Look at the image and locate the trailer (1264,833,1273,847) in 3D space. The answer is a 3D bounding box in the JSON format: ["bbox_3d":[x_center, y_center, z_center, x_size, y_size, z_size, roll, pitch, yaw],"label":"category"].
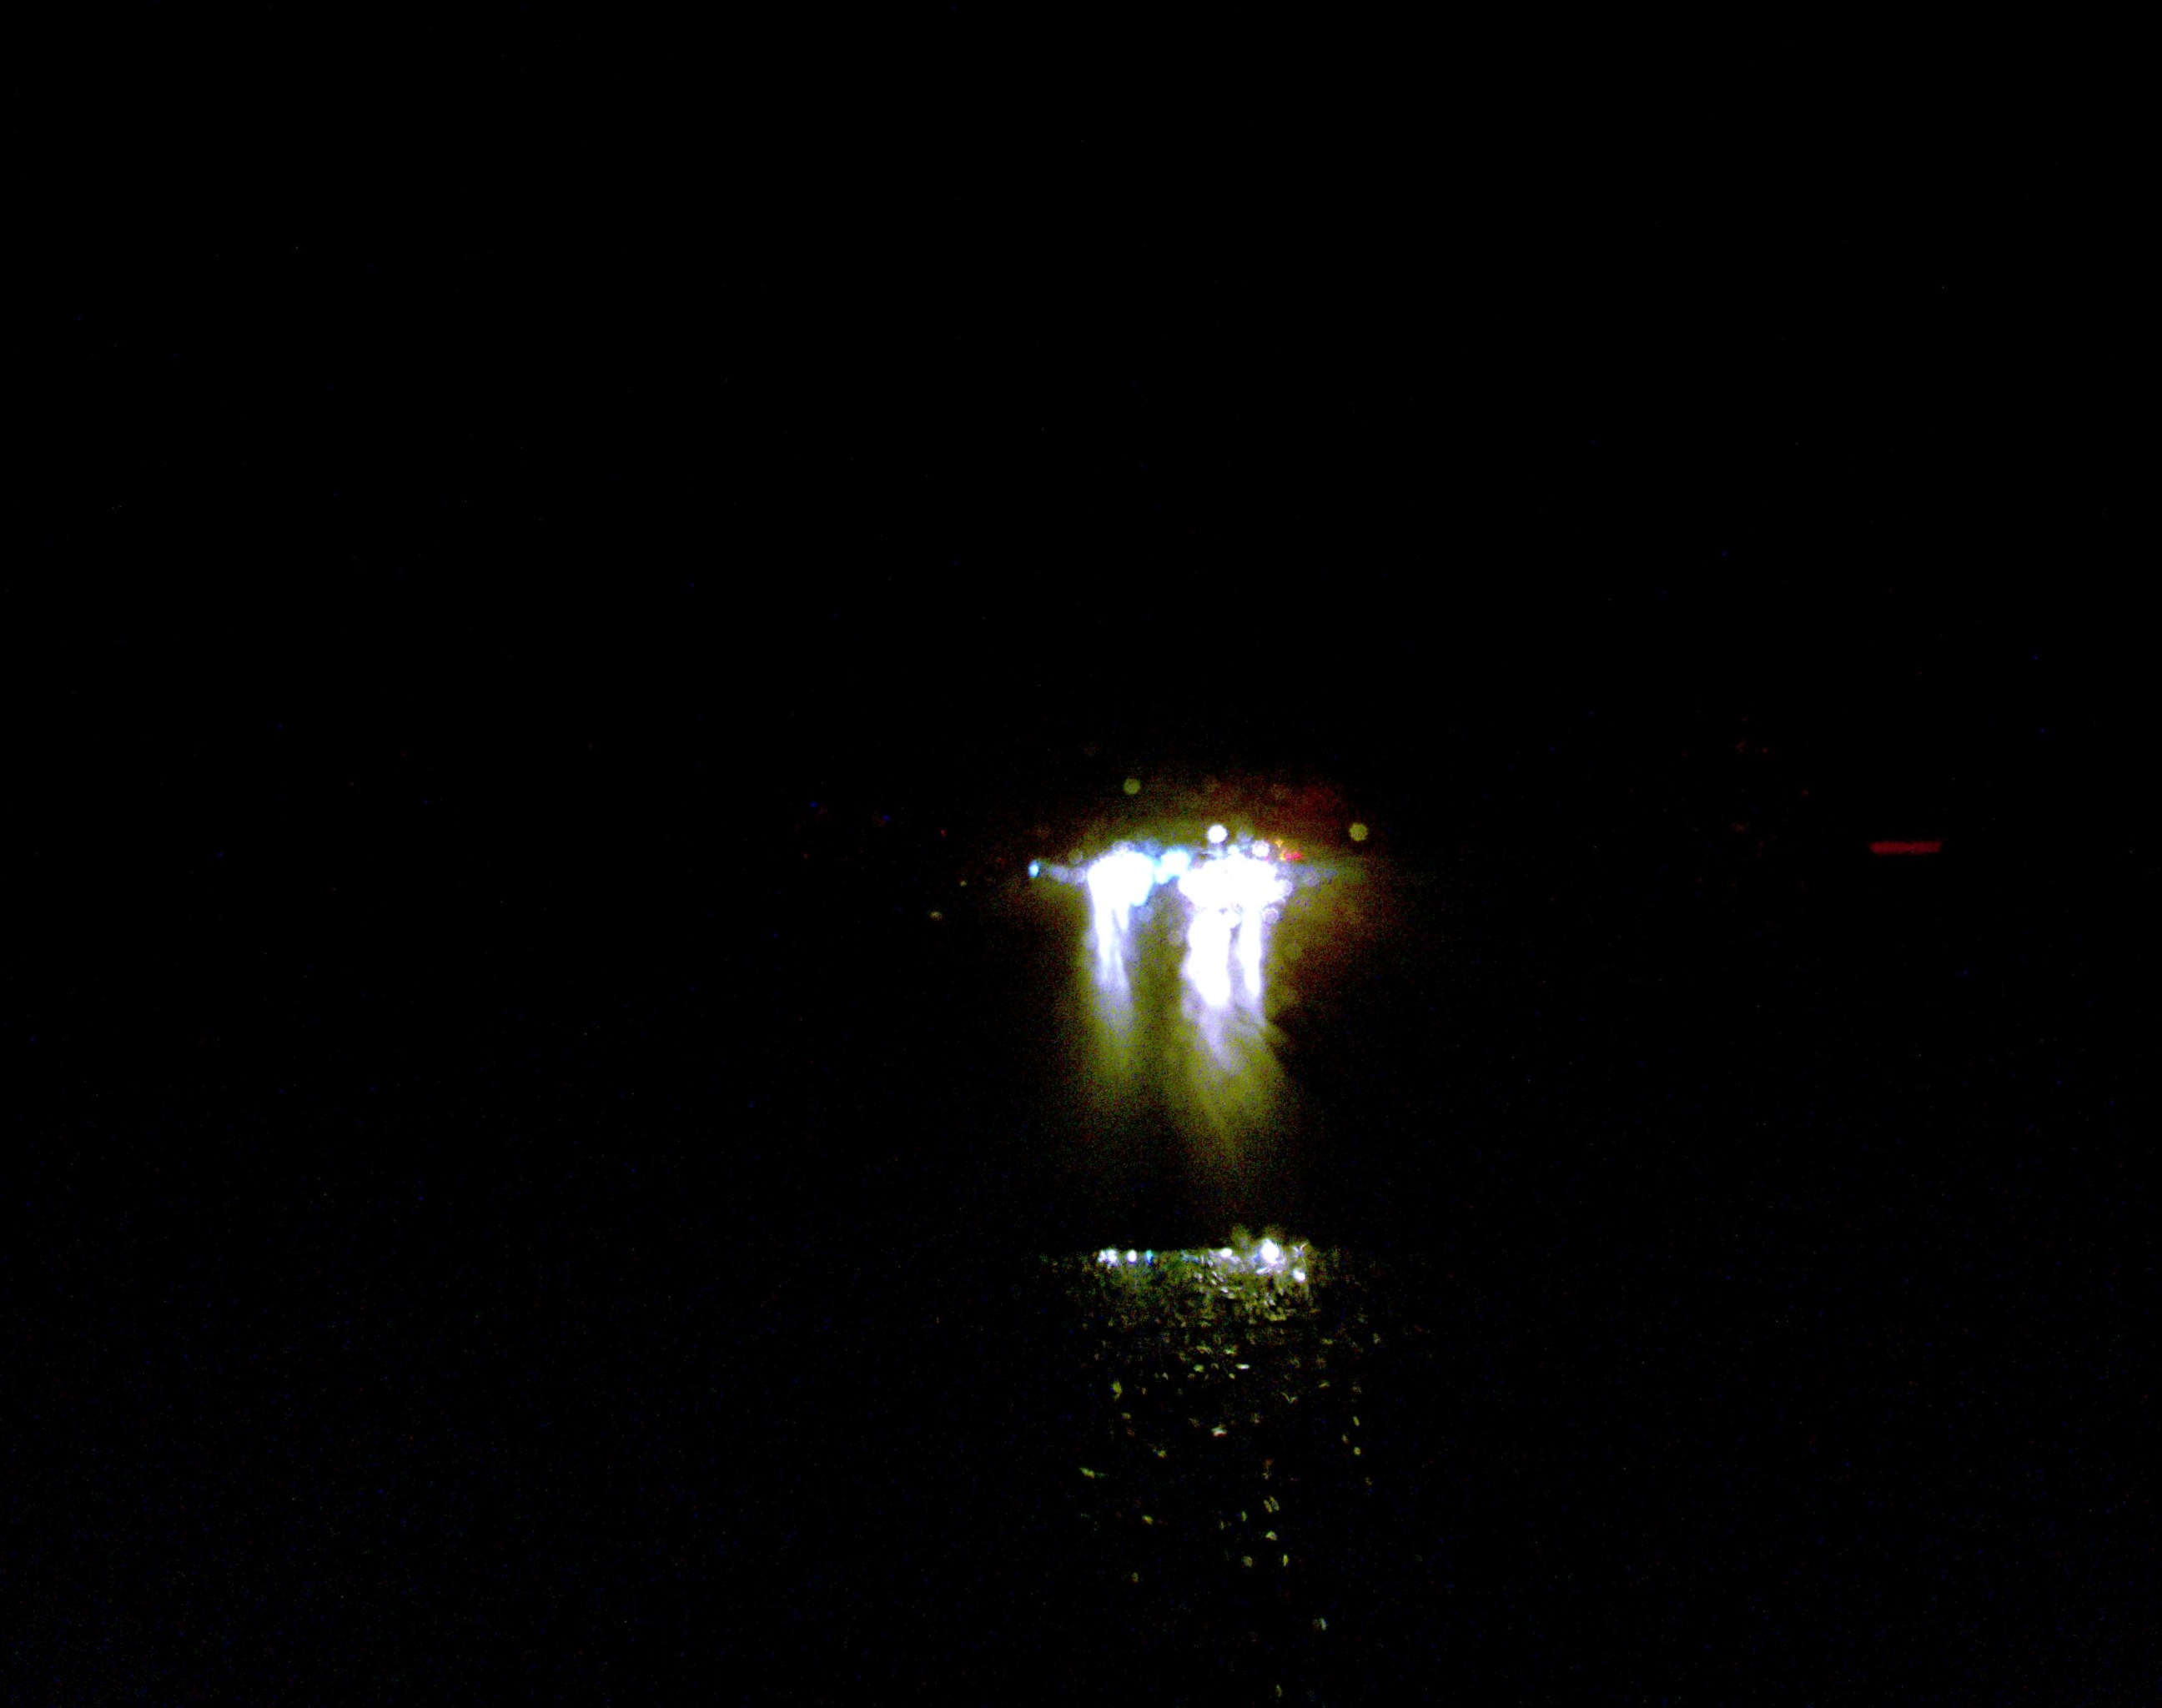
[{"bbox_3d":[60.800,-4.671,246.753,2.579,4.432,12.504,-2,1,15],"label":"trailer"}]

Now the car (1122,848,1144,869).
[{"bbox_3d":[5.347,0.430,78.142,1.998,2.002,4.000,-3,0,1],"label":"car"}]

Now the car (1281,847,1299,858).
[{"bbox_3d":[27.429,-0.223,99.822,1.607,1.335,3.243,-3,1,5],"label":"car"}]

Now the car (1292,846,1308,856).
[{"bbox_3d":[38.054,-0.541,132.090,1.834,1.703,4.001,-1,1,5],"label":"car"}]

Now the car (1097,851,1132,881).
[{"bbox_3d":[2.071,0.702,46.088,1.891,1.603,4.001,-1,1,5],"label":"car"}]

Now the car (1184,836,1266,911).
[{"bbox_3d":[4.290,0.530,23.290,1.754,2.093,4.463,0,0,1],"label":"car"}]

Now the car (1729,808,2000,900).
[{"bbox_3d":[19.611,-0.038,19.433,1.998,2.002,4.809,-2,1,1],"label":"car"}]

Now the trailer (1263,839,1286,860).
[{"bbox_3d":[33.628,-0.796,132.363,2.614,3.453,10.450,-1,1,7],"label":"trailer"}]
